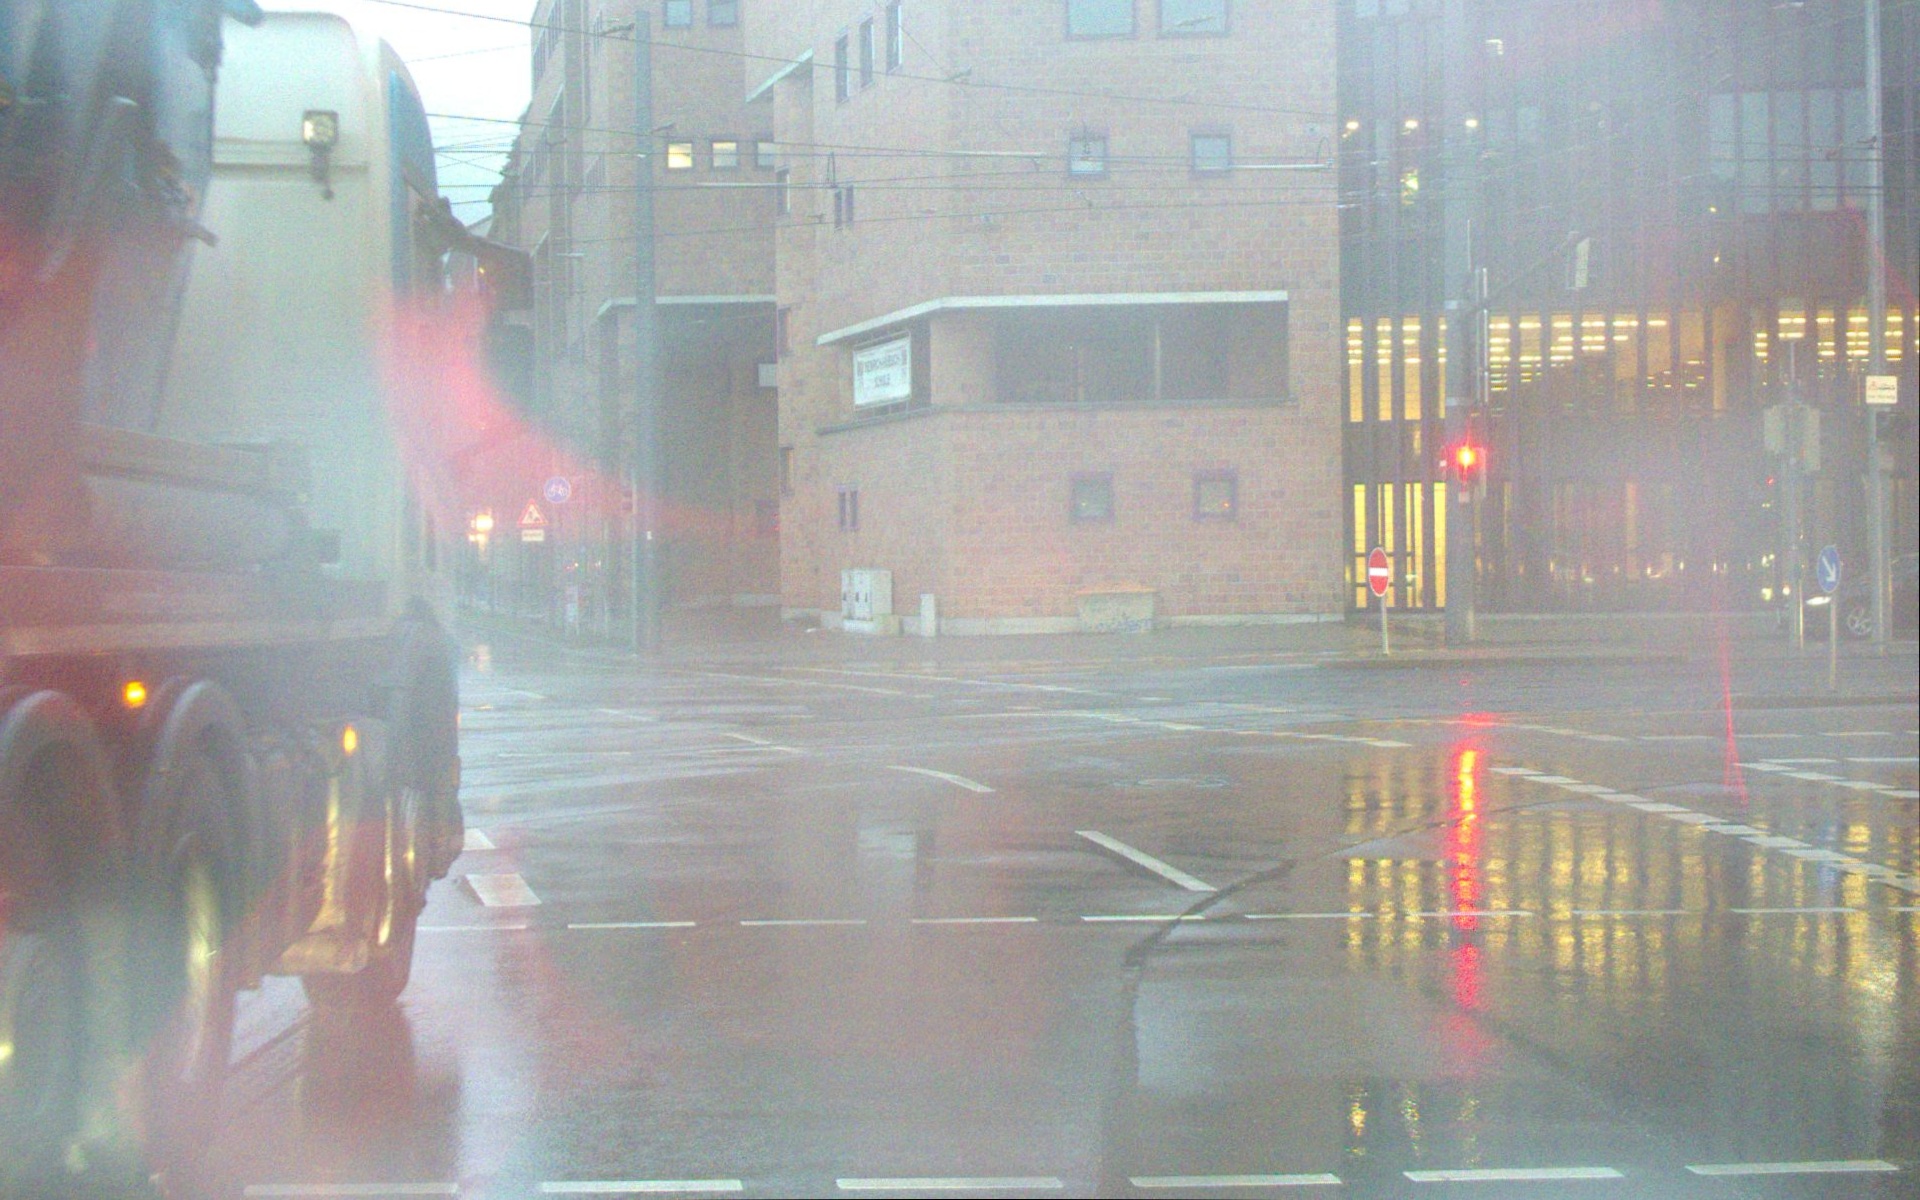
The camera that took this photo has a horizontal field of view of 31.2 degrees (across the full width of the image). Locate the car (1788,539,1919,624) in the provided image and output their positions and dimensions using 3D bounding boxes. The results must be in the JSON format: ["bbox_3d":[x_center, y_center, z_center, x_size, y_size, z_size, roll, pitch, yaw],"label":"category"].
[{"bbox_3d":[15.694,-0.332,55.744,3.986,1.305,2.000,-1,1,-4],"label":"car"}]

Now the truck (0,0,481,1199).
[{"bbox_3d":[-3.120,-0.329,8.954,2.839,3.621,7.527,-1,1,-2],"label":"truck"}]
